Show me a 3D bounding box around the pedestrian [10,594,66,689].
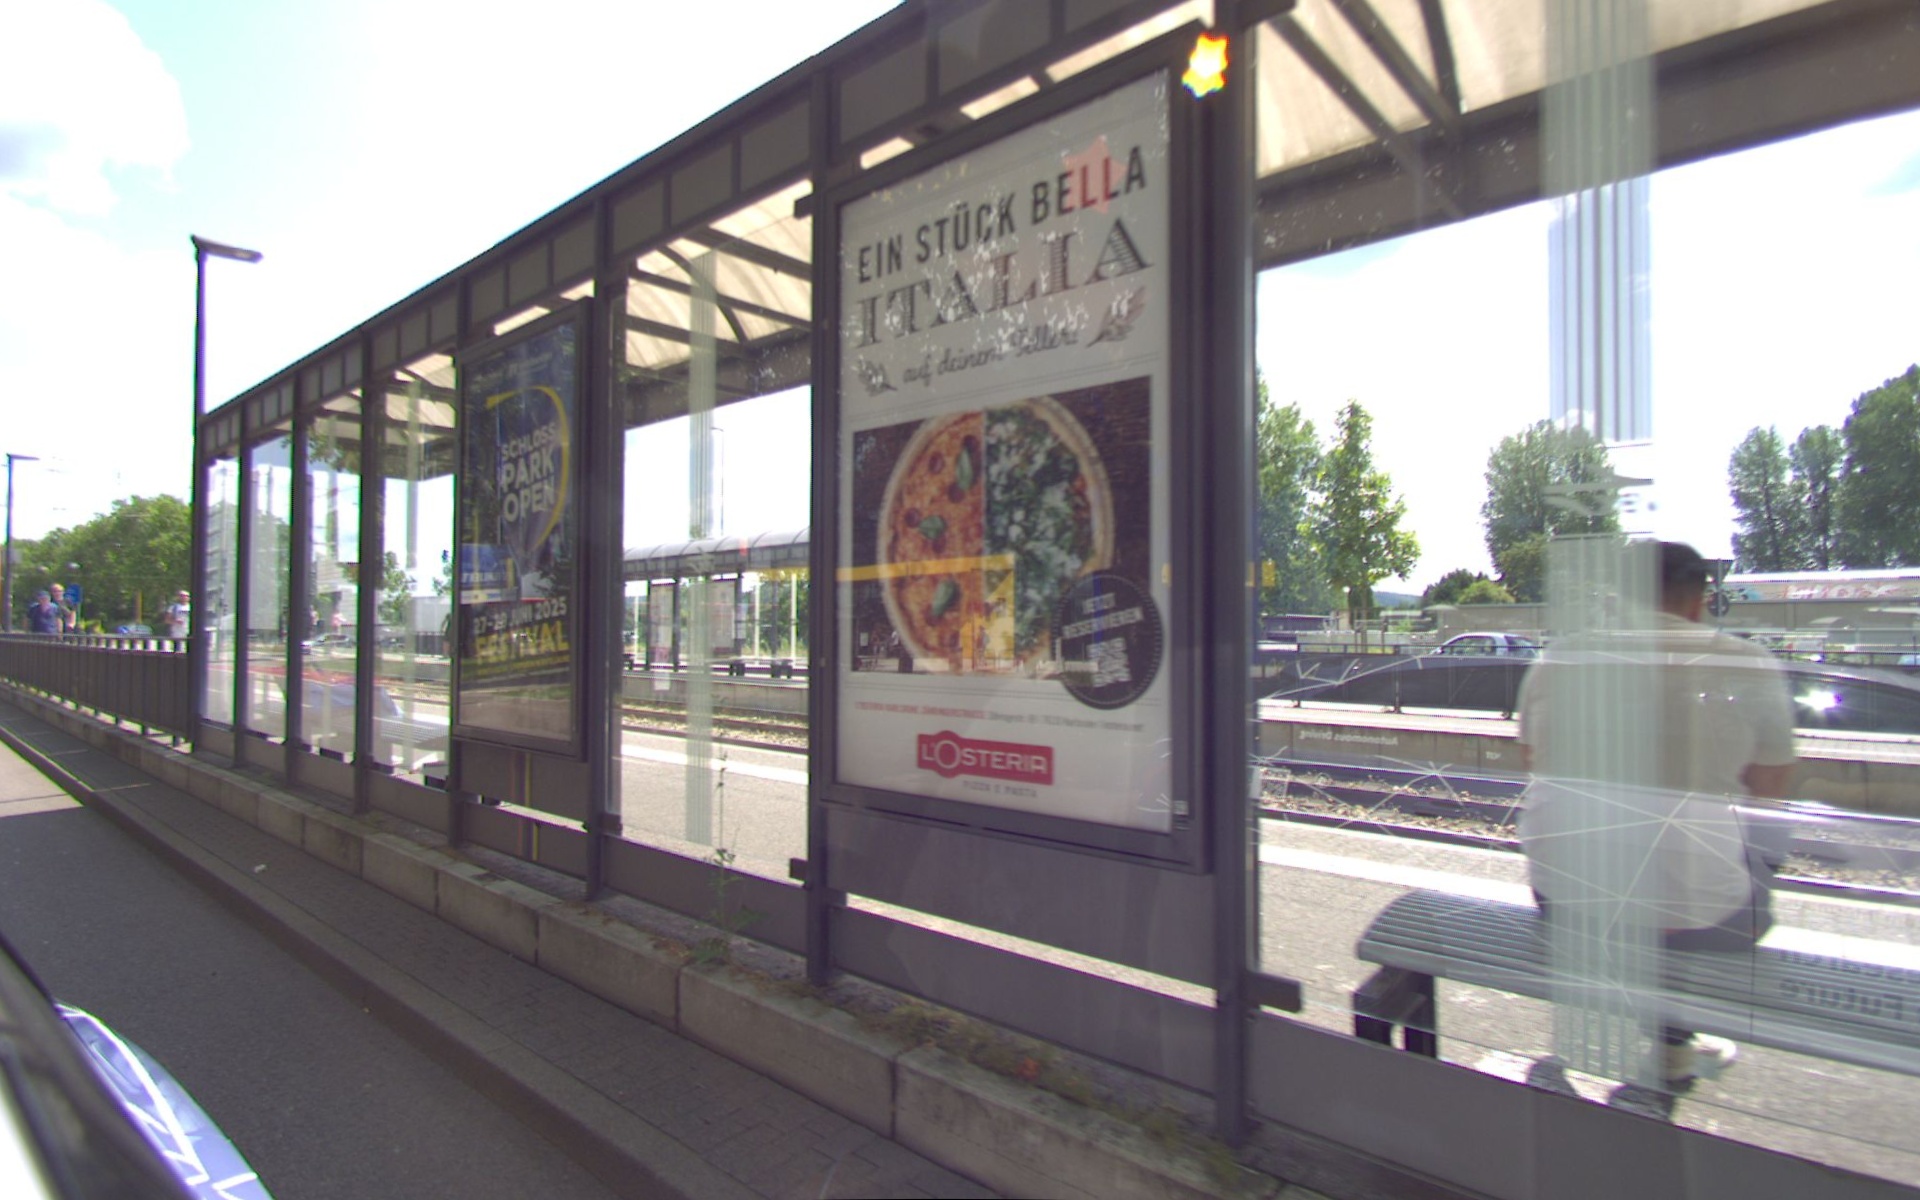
[{"bbox_3d":[-17.849,0.791,19.587,0.930,1.769,0.726,-2,-2,43],"label":"pedestrian"}]

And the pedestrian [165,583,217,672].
[{"bbox_3d":[-16.194,0.571,21.308,0.930,1.821,0.726,-2,-2,43],"label":"pedestrian"}]

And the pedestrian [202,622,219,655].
[{"bbox_3d":[-41.912,2.148,56.597,0.662,1.782,0.613,1,-2,-45],"label":"pedestrian"}]

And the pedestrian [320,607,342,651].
[{"bbox_3d":[-25.239,1.152,40.610,0.592,1.735,0.709,1,-3,-44],"label":"pedestrian"}]

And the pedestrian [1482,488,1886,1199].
[{"bbox_3d":[1.460,0.448,2.063,0.566,1.251,0.467,-3,-3,41],"label":"pedestrian"}]

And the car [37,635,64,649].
[{"bbox_3d":[-124.714,5.761,138.741,4.314,1.671,1.791,-2,-7,37],"label":"car"}]

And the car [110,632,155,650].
[{"bbox_3d":[-84.560,4.225,103.425,4.642,1.787,1.868,-2,-3,27],"label":"car"}]

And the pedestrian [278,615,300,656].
[{"bbox_3d":[-28.571,1.523,43.104,0.719,1.735,0.525,1,-3,-43],"label":"pedestrian"}]

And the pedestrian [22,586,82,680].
[{"bbox_3d":[-19.563,0.714,21.801,0.994,1.954,0.864,-3,-3,42],"label":"pedestrian"}]

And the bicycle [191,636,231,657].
[{"bbox_3d":[-41.884,2.597,56.610,1.697,1.096,0.621,1,-2,-45],"label":"bicycle"}]

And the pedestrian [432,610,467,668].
[{"bbox_3d":[-16.367,1.244,32.466,0.930,1.821,0.726,-2,-2,43],"label":"pedestrian"}]

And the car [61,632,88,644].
[{"bbox_3d":[-106.890,4.563,122.099,3.885,1.419,1.650,-2,-2,36],"label":"car"}]

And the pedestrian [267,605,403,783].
[{"bbox_3d":[-4.546,0.647,7.361,0.642,1.199,0.686,-2,-1,42],"label":"pedestrian"}]

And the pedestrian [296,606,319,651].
[{"bbox_3d":[-25.909,1.135,40.178,0.627,1.761,0.678,-1,-1,-44],"label":"pedestrian"}]

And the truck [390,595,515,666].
[{"bbox_3d":[-32.277,1.970,64.020,11.994,4.136,2.911,-2,-2,42],"label":"truck"}]
